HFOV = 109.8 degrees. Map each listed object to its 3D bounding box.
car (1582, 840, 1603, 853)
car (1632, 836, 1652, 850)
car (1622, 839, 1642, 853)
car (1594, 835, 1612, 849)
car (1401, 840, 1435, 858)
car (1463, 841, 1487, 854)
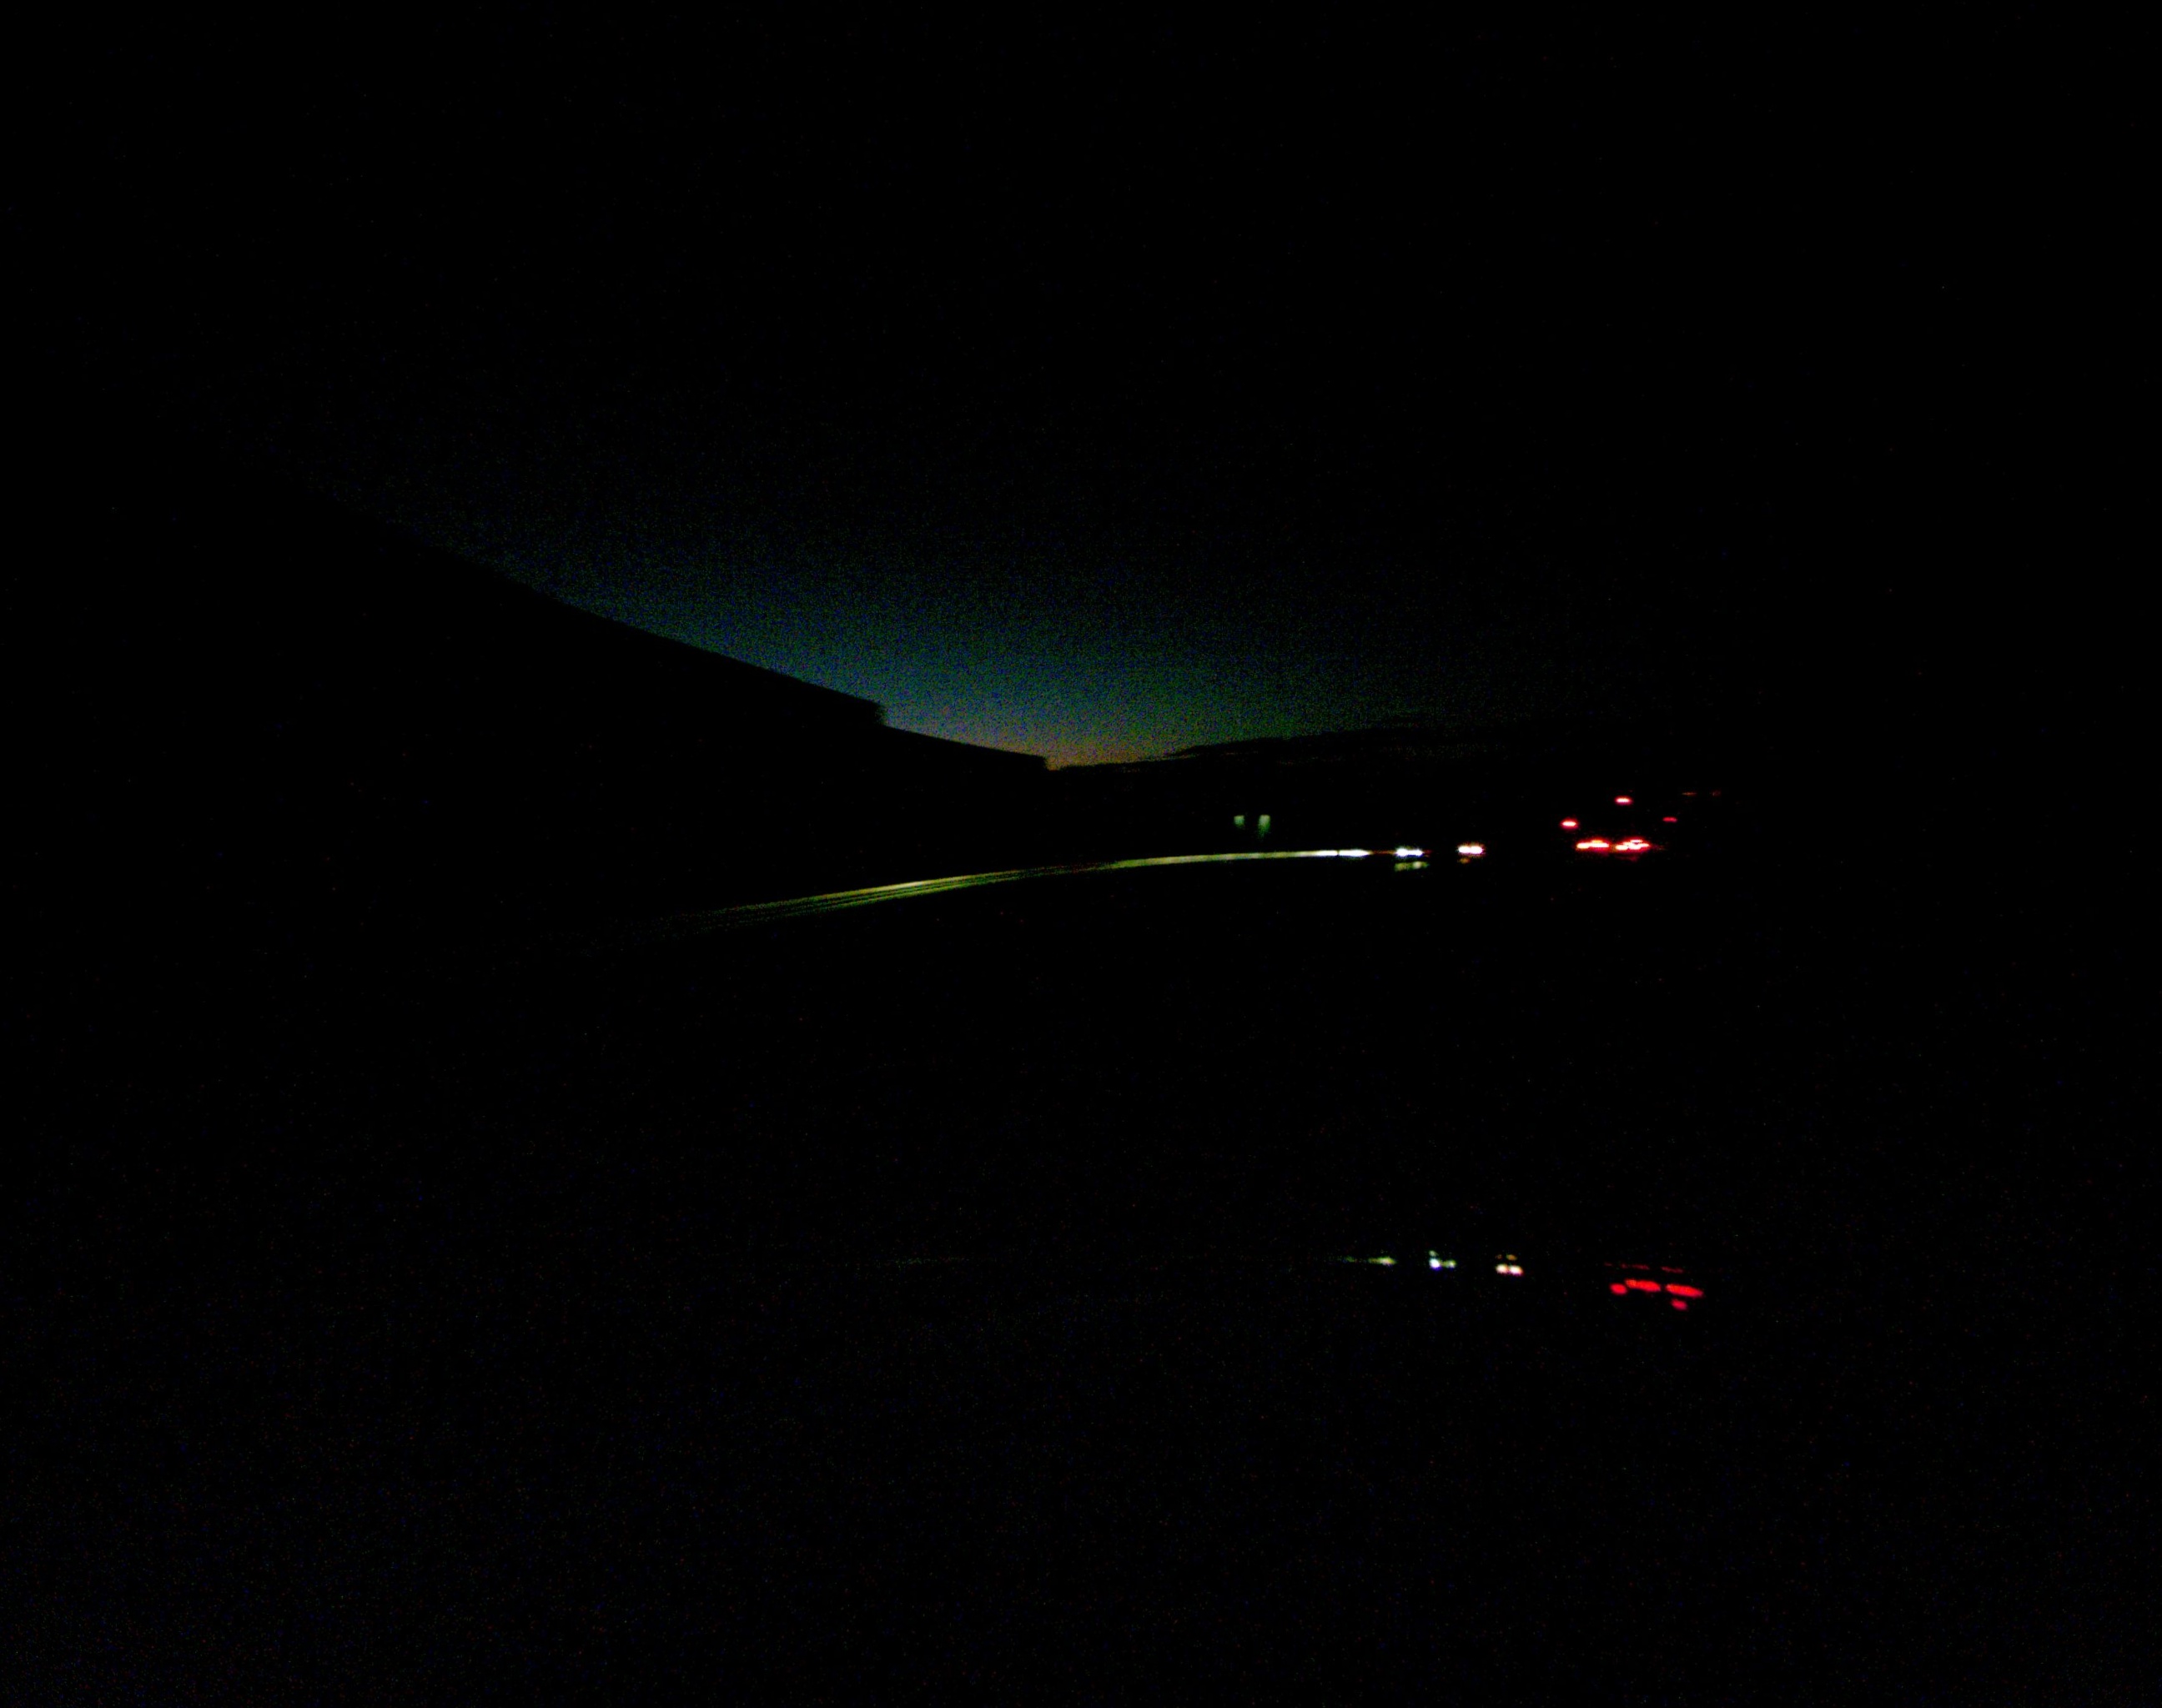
[{"bbox_3d":[61.564,-0.880,91.496,1.710,1.436,3.992,1,3,39],"label":"car"},{"bbox_3d":[68.544,-1.338,92.859,1.755,1.452,4.007,-1,3,39],"label":"car"},{"bbox_3d":[63.850,-0.930,88.004,1.684,1.452,3.819,2,4,39],"label":"car"},{"bbox_3d":[66.704,-1.525,97.118,1.700,1.467,3.876,-1,4,38],"label":"car"},{"bbox_3d":[29.434,-0.434,66.245,1.758,1.451,4.200,1,2,37],"label":"car"},{"bbox_3d":[45.093,-0.743,86.928,1.653,1.443,3.496,1,3,40],"label":"car"}]
